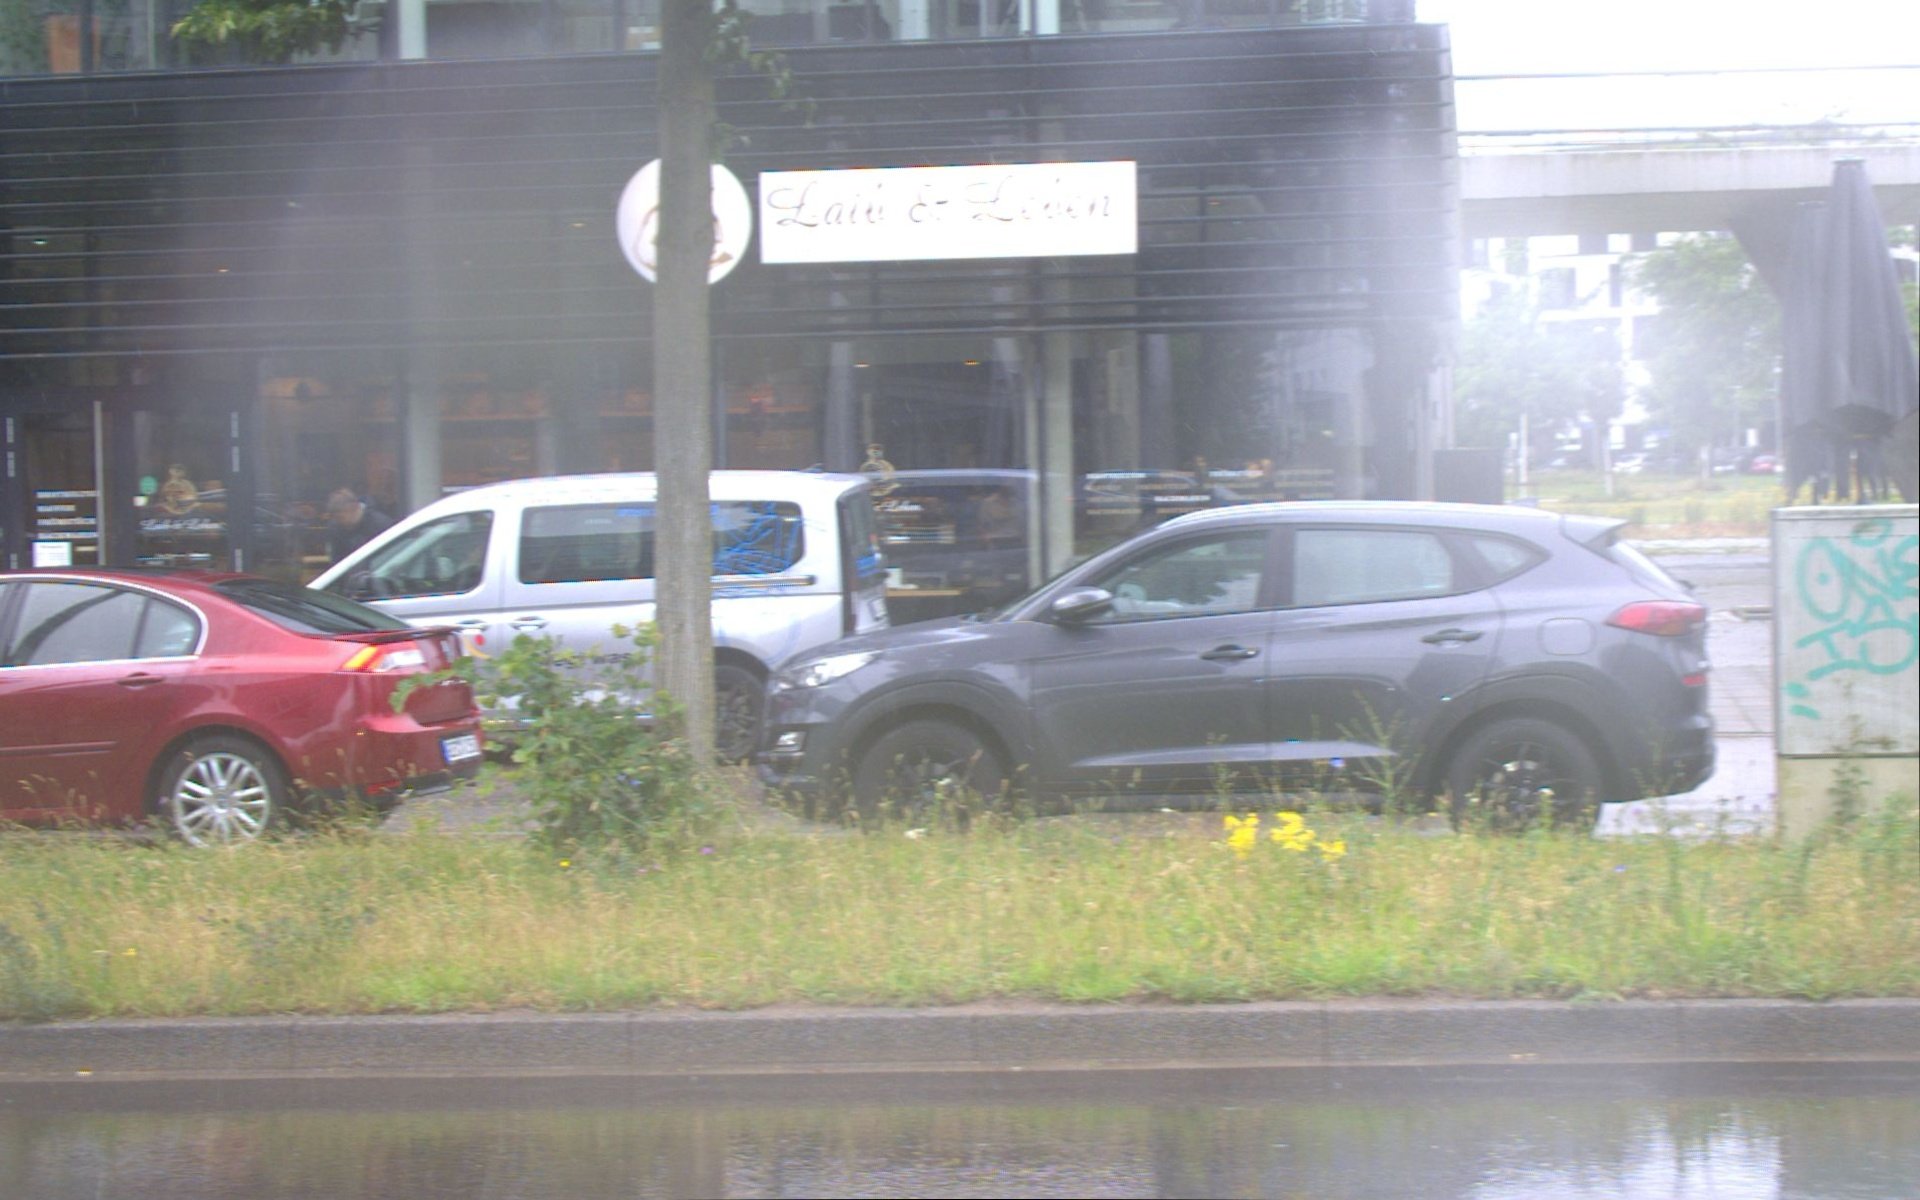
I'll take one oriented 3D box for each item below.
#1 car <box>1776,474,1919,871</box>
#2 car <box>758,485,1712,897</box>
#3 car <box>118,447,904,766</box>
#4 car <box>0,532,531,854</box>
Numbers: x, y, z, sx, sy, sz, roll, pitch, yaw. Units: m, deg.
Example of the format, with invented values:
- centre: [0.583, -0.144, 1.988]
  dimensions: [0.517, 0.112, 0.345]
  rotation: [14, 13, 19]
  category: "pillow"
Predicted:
- centre: [6.223, 0.334, 15.550]
  dimensions: [4.709, 1.701, 2.000]
  rotation: [2, 2, 8]
  category: "car"
- centre: [1.317, 0.356, 16.302]
  dimensions: [4.205, 1.701, 2.000]
  rotation: [2, 2, 8]
  category: "car"
- centre: [-2.832, -0.007, 22.254]
  dimensions: [4.709, 1.859, 1.899]
  rotation: [1, 2, 6]
  category: "car"
- centre: [-4.824, 0.422, 17.197]
  dimensions: [4.945, 1.449, 1.999]
  rotation: [0, 2, 9]
  category: "car"
